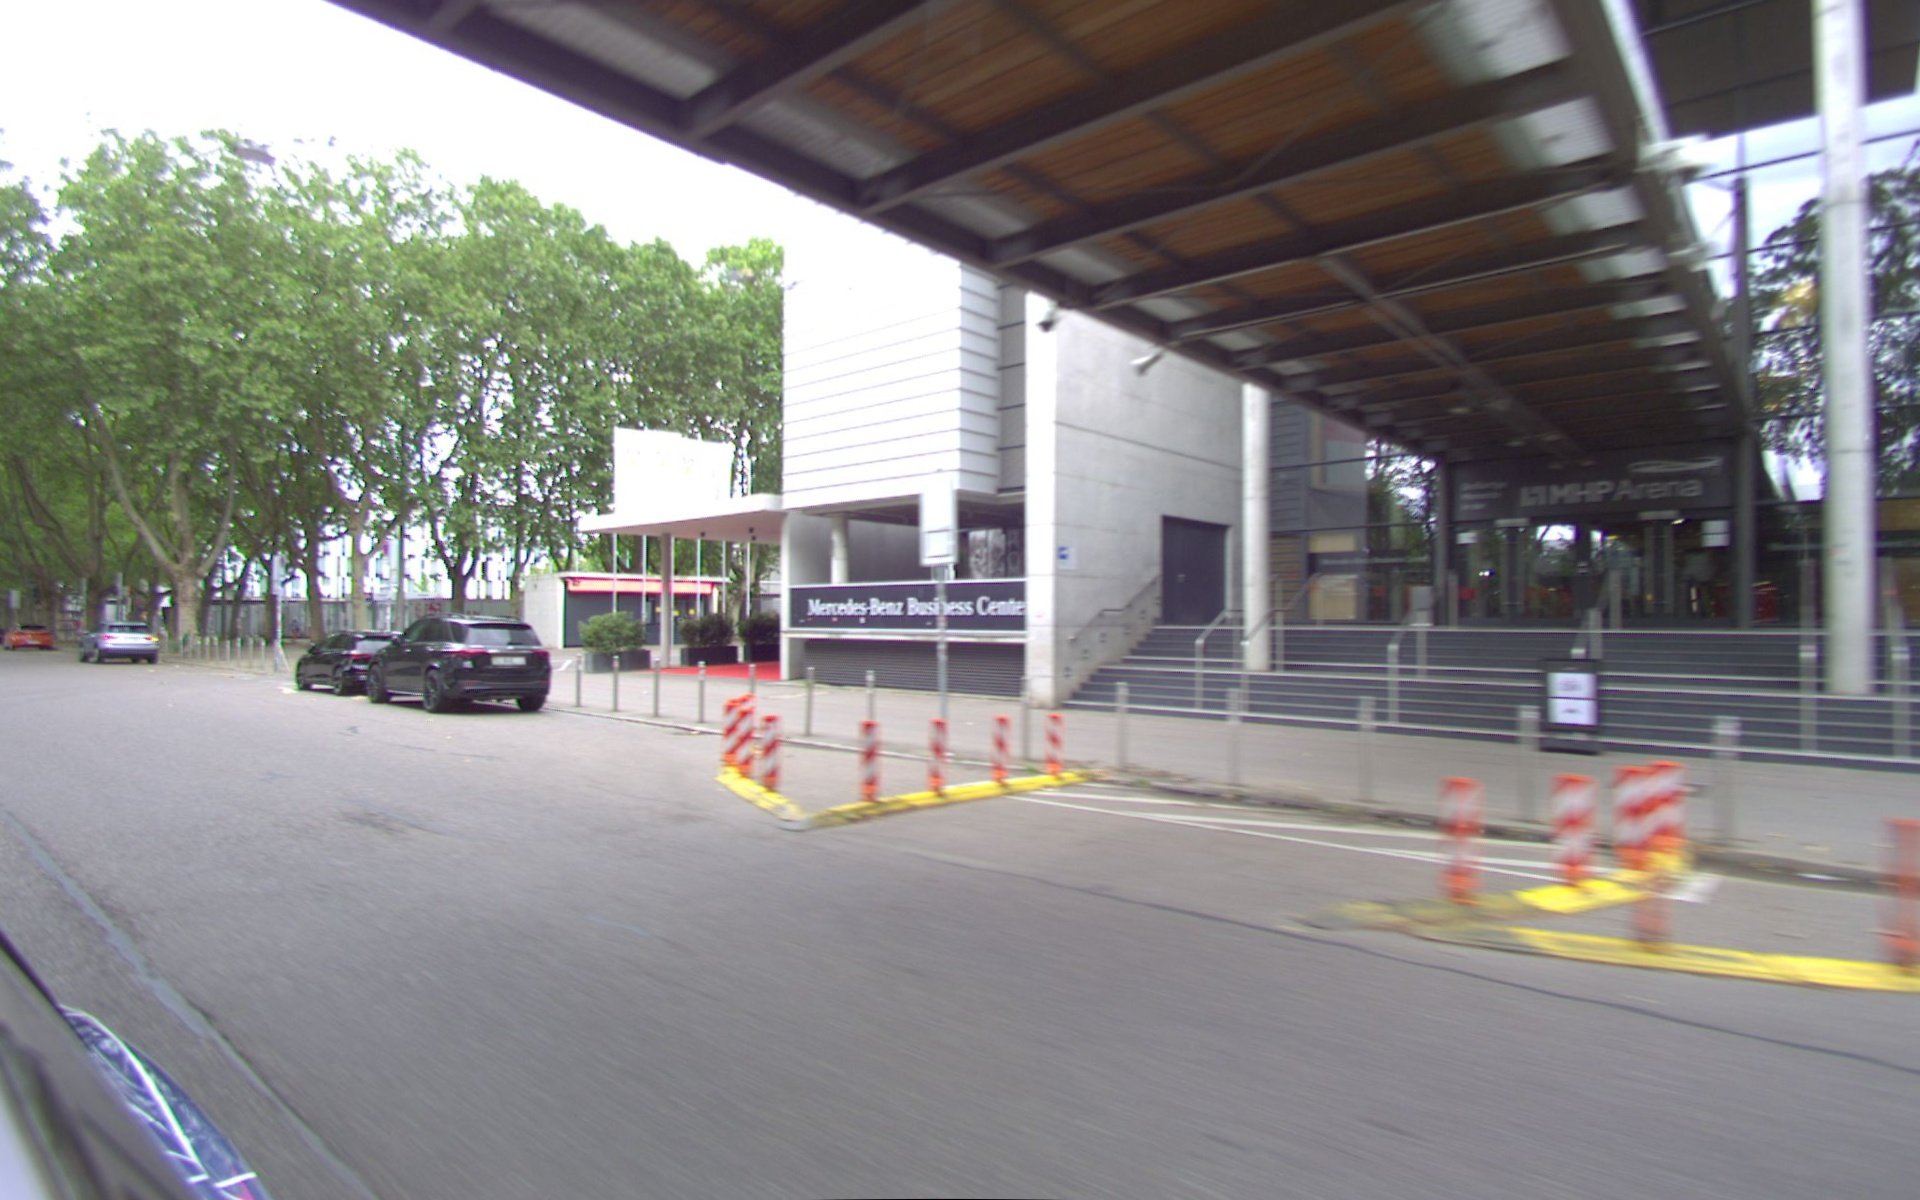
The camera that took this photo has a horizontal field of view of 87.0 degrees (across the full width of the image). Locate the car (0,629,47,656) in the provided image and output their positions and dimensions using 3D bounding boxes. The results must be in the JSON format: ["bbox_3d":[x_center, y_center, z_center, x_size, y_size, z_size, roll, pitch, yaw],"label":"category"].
[{"bbox_3d":[-49.920,2.260,53.691,3.998,1.364,1.789,-2,-2,41],"label":"car"}]

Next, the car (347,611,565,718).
[{"bbox_3d":[-9.826,1.220,19.546,4.906,1.803,2.013,-2,-5,42],"label":"car"}]

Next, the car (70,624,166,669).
[{"bbox_3d":[-31.685,1.706,38.037,4.754,1.575,2.052,-2,-2,42],"label":"car"}]

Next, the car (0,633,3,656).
[{"bbox_3d":[-63.365,2.869,65.502,4.627,1.477,1.807,-2,-3,43],"label":"car"}]

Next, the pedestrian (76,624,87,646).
[{"bbox_3d":[-70.910,2.833,81.682,0.567,1.755,0.769,1,-2,-34],"label":"pedestrian"}]

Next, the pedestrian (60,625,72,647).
[{"bbox_3d":[-71.634,2.883,81.094,0.569,1.783,0.769,1,-2,-34],"label":"pedestrian"}]

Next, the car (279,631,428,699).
[{"bbox_3d":[-14.064,1.469,23.370,4.323,1.430,1.687,-2,-5,42],"label":"car"}]
